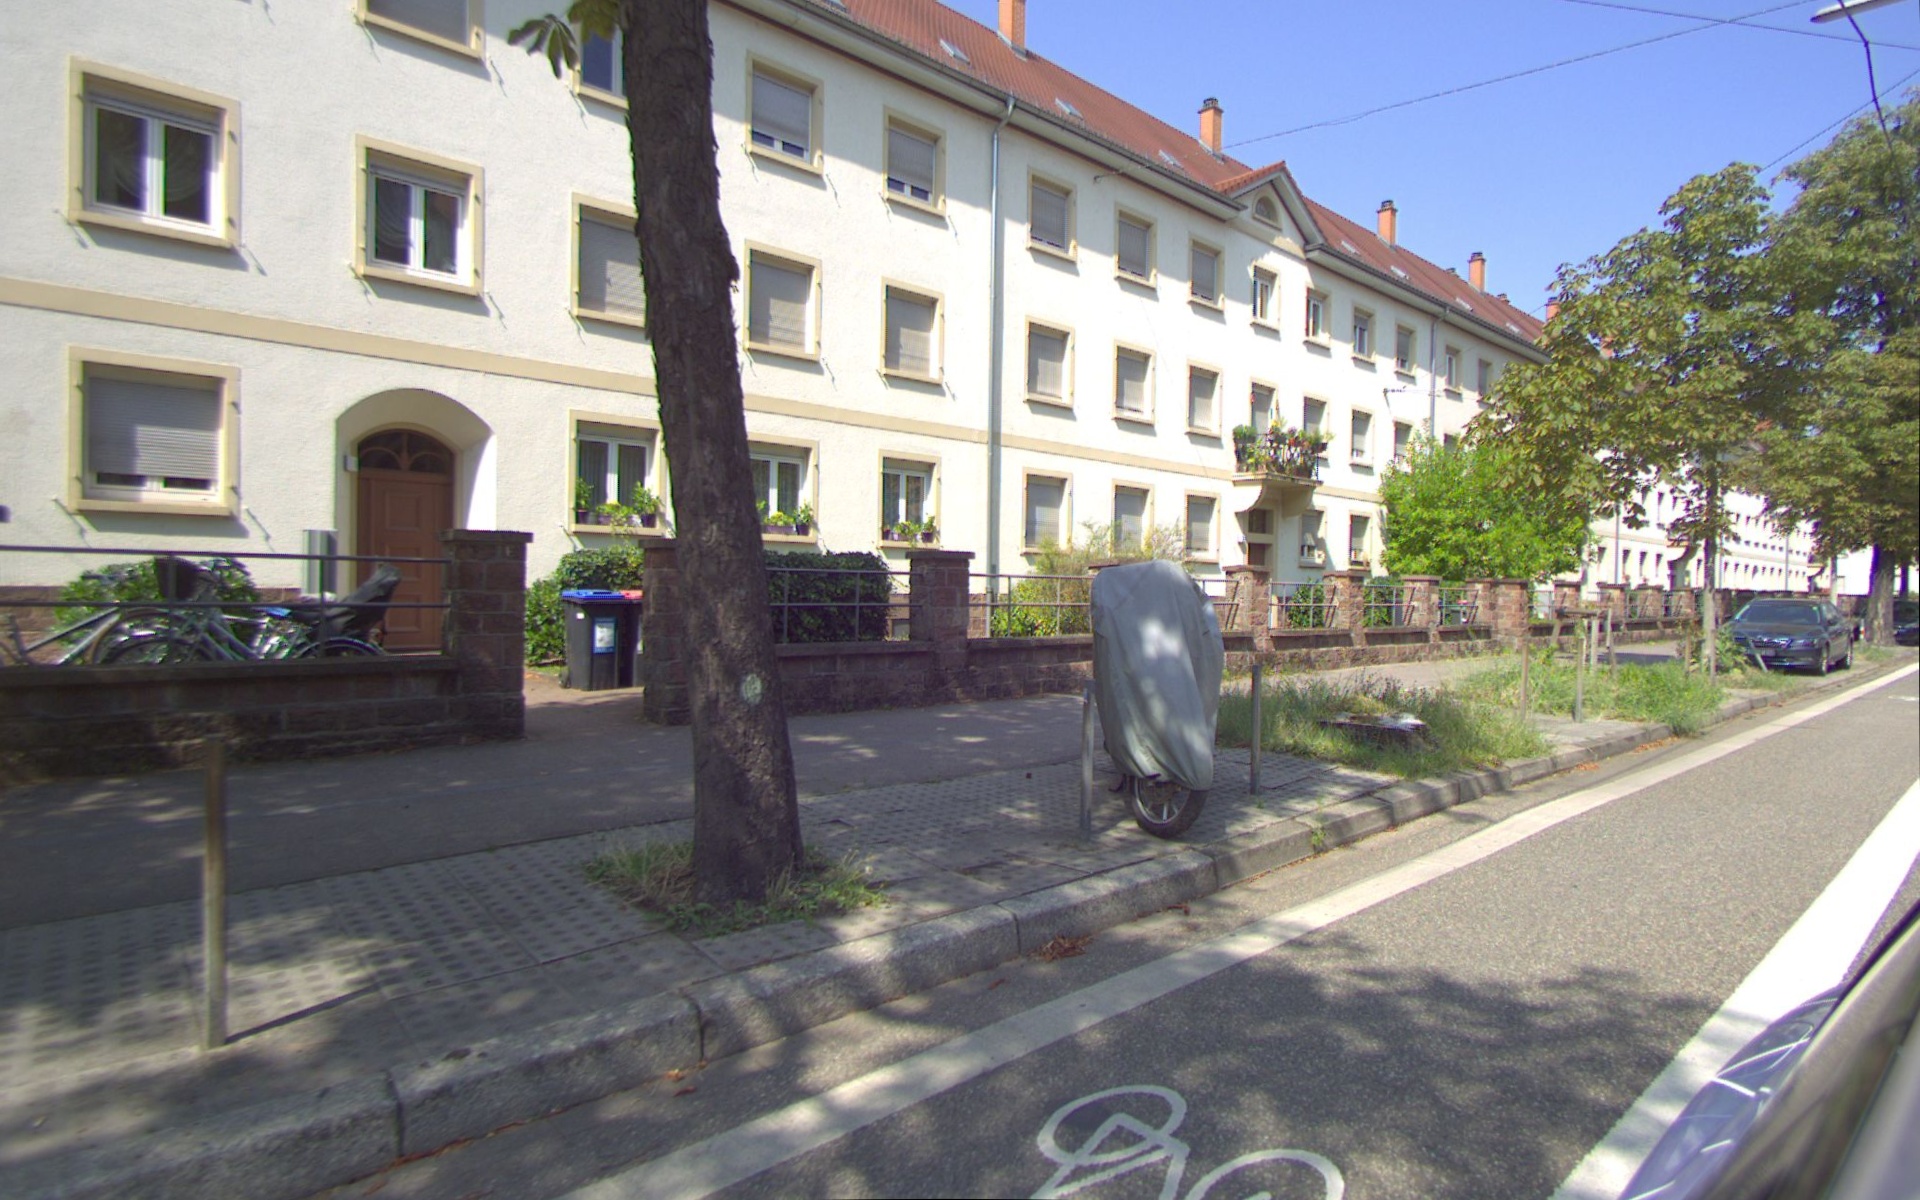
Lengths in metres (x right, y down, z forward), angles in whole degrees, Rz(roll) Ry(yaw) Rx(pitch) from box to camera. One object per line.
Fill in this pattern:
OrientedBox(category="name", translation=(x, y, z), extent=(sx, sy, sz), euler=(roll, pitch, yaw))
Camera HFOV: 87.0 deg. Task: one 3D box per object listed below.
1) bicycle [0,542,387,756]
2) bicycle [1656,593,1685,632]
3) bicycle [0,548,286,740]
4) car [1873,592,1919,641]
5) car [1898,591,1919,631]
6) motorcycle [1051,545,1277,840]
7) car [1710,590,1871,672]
OrientedBox(category="bicycle", translation=(-5.555, 0.305, 7.387), extent=(2.326, 1.375, 0.595), euler=(0, 1, -39))
OrientedBox(category="bicycle", translation=(23.562, 0.404, 33.565), extent=(1.552, 1.273, 0.402), euler=(0, 1, -41))
OrientedBox(category="bicycle", translation=(-6.609, 0.306, 7.792), extent=(2.326, 1.375, 0.595), euler=(0, 1, -39))
OrientedBox(category="car", translation=(31.183, 0.514, 32.934), extent=(4.311, 1.496, 1.758), euler=(0, 1, -42))
OrientedBox(category="car", translation=(39.126, 0.472, 40.511), extent=(4.380, 1.495, 1.760), euler=(0, 5, -41))
OrientedBox(category="motorcycle", translation=(1.181, 0.430, 6.531), extent=(0.950, 1.558, 2.348), euler=(1, 3, 0))
OrientedBox(category="car", translation=(17.480, 0.581, 21.223), extent=(4.757, 1.496, 1.895), euler=(0, 1, -42))
